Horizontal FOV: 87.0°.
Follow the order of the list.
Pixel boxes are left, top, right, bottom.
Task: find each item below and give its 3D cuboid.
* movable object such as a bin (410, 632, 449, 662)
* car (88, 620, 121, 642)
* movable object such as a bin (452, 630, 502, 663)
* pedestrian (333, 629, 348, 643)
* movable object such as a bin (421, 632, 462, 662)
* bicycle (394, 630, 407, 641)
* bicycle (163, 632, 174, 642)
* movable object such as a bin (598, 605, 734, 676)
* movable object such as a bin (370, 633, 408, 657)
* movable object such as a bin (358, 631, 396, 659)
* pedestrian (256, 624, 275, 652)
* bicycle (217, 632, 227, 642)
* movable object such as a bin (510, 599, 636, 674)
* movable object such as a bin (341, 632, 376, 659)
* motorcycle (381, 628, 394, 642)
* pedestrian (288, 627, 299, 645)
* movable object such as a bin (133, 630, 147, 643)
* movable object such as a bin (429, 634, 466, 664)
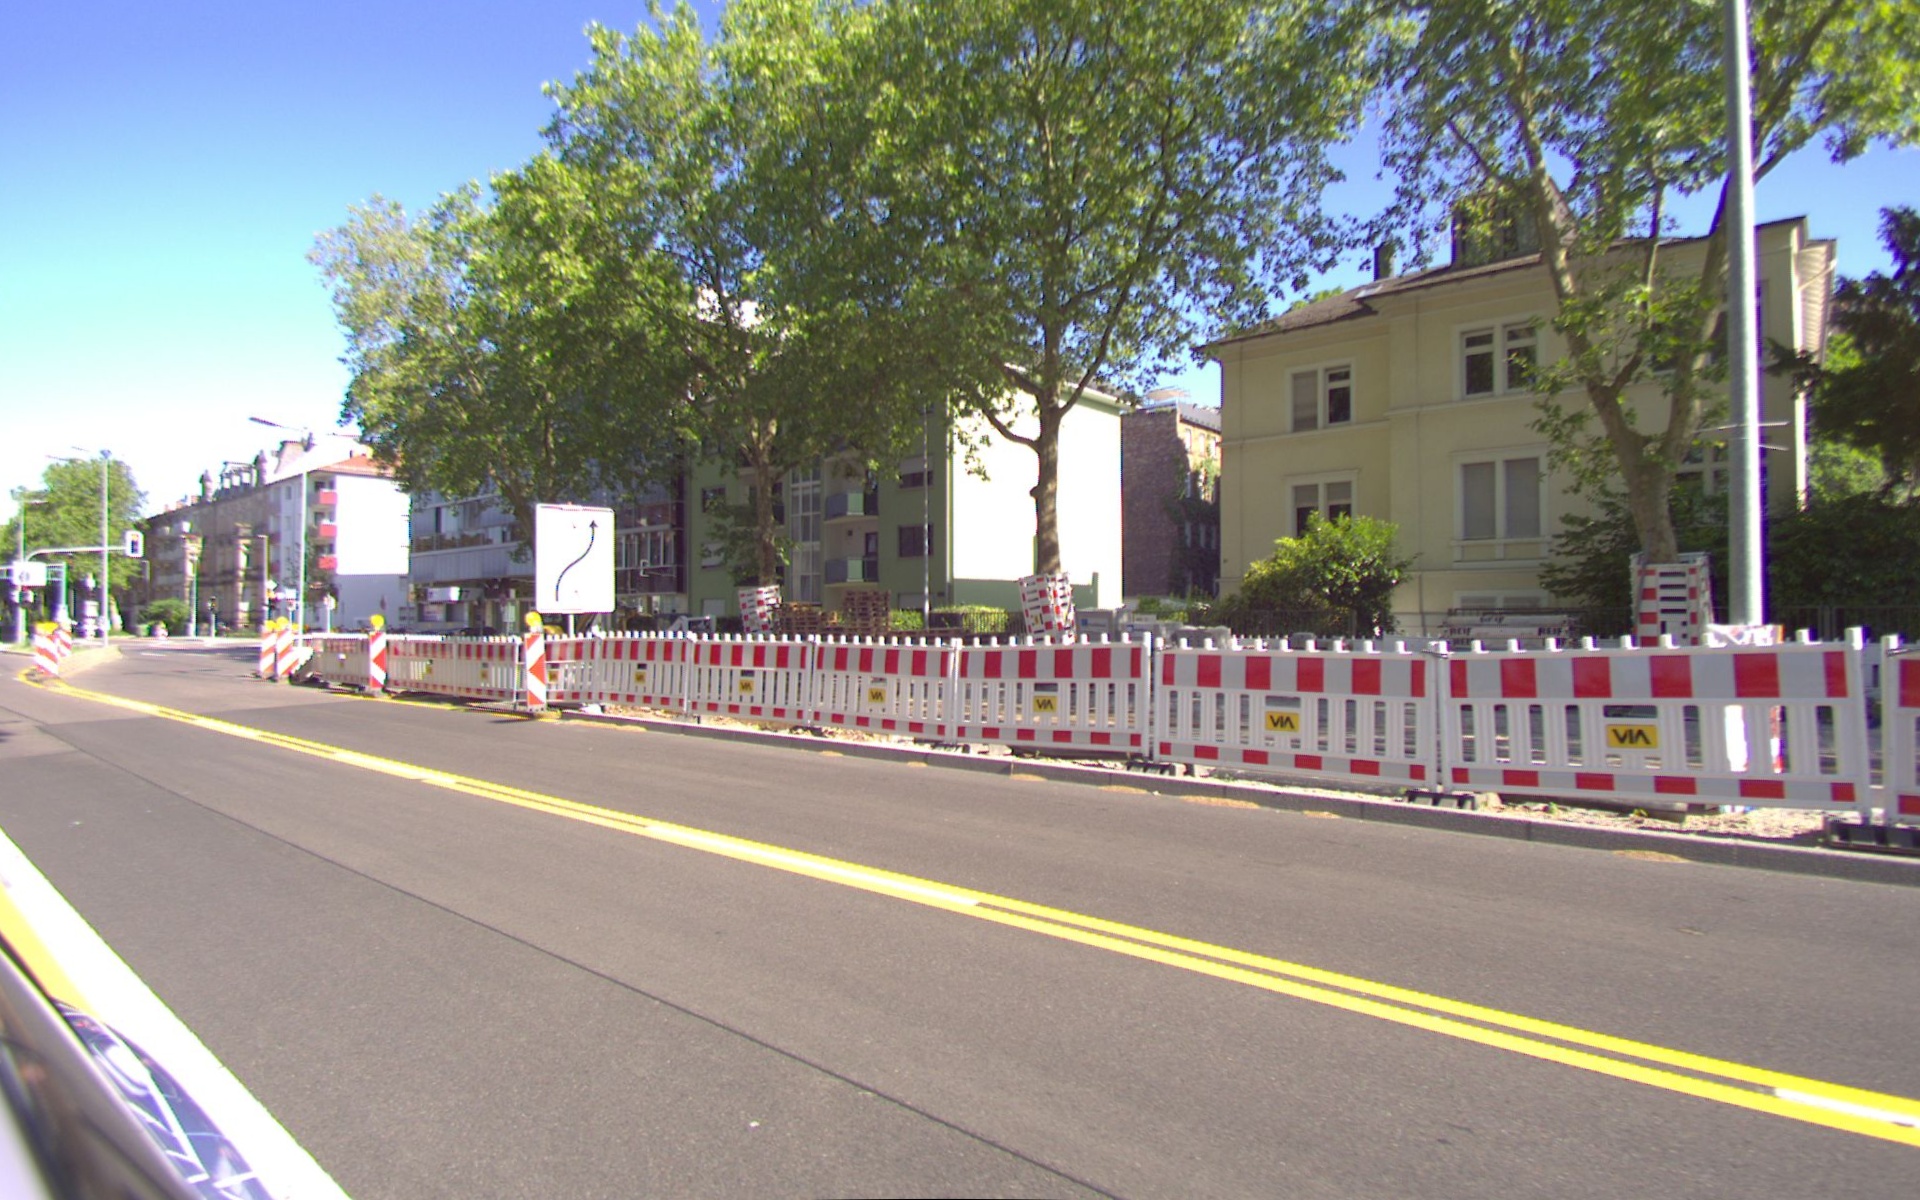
[{"bbox_3d":[-24.732,2.189,47.186,0.936,1.348,1.395,-2,-2,43],"label":"movable object such as a bin"},{"bbox_3d":[-101.638,3.743,120.169,5.285,2.465,2.221,-4,-5,42],"label":"car"},{"bbox_3d":[-21.356,2.039,44.745,1.251,1.433,1.627,-1,-1,15],"label":"movable object such as a bin"},{"bbox_3d":[-50.336,2.932,82.199,0.785,1.162,0.712,-1,-1,28],"label":"pedestrian"},{"bbox_3d":[-23.879,2.152,46.595,1.068,1.348,1.395,-2,-2,42],"label":"movable object such as a bin"},{"bbox_3d":[-48.550,3.060,87.754,0.567,0.976,1.737,0,-2,-44],"label":"bicycle"},{"bbox_3d":[-83.201,3.929,106.352,2.247,1.013,0.462,-3,-1,39],"label":"bicycle"},{"bbox_3d":[-10.354,1.380,35.369,5.599,2.296,1.971,-1,-2,43],"label":"movable object such as a bin"},{"bbox_3d":[-29.201,2.283,51.736,1.241,1.212,1.379,-2,-1,44],"label":"movable object such as a bin"},{"bbox_3d":[-30.487,2.339,52.904,1.855,1.399,1.201,-2,-2,43],"label":"movable object such as a bin"},{"bbox_3d":[-43.505,2.377,63.419,0.854,1.724,1.013,1,-2,-42],"label":"pedestrian"},{"bbox_3d":[-68.309,3.420,93.653,1.939,0.965,0.301,-2,-2,41],"label":"bicycle"},{"bbox_3d":[-15.088,1.390,39.341,5.347,2.727,2.126,-1,-1,38],"label":"movable object such as a bin"},{"bbox_3d":[-32.310,2.420,54.362,1.855,1.399,1.102,-2,-2,43],"label":"movable object such as a bin"},{"bbox_3d":[-48.607,2.954,85.952,0.604,1.150,1.786,0,-2,-40],"label":"motorcycle"},{"bbox_3d":[-54.777,2.952,83.168,0.695,1.508,0.593,-2,-2,44],"label":"pedestrian"},{"bbox_3d":[-90.956,4.015,112.263,1.473,1.371,0.883,-4,-5,42],"label":"movable object such as a bin"},{"bbox_3d":[-23.060,2.186,45.548,1.539,1.280,0.969,-2,-2,41],"label":"movable object such as a bin"}]
